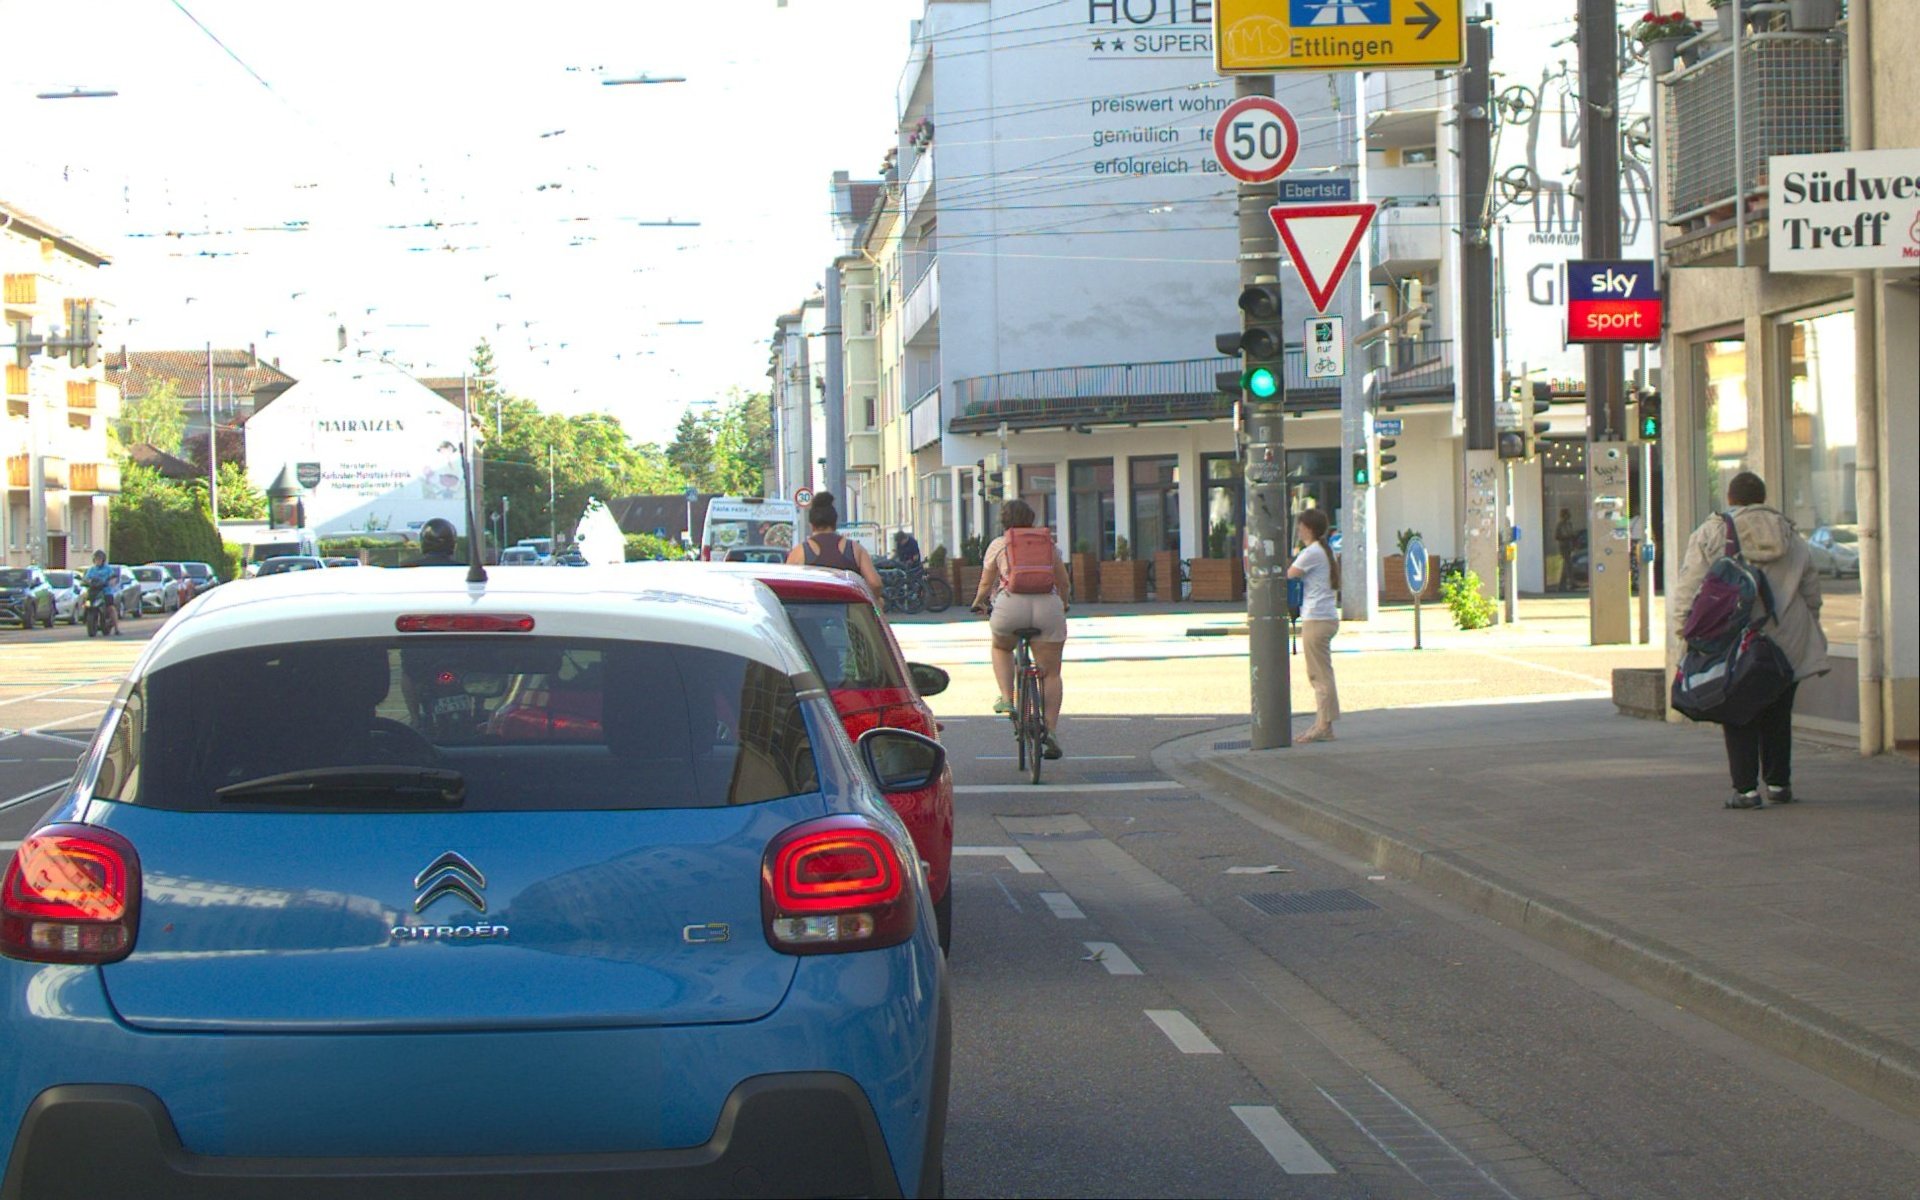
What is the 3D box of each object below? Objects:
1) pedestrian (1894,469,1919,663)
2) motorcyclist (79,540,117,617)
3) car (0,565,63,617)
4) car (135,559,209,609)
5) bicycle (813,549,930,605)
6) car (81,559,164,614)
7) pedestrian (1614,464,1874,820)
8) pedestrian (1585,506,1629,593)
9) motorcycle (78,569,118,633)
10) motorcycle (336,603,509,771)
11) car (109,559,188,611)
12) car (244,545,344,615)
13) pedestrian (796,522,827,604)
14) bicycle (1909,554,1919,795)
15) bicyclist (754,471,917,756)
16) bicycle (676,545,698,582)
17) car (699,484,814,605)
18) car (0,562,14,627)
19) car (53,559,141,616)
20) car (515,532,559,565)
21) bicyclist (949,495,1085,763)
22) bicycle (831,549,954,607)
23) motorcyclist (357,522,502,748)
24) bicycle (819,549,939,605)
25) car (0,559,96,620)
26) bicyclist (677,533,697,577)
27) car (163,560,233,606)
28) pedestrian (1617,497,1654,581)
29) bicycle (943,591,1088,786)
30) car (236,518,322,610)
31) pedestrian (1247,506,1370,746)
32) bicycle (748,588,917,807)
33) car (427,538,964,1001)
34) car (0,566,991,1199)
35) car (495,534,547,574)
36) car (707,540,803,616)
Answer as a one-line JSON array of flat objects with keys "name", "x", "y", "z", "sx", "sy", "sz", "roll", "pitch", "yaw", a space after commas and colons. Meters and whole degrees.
[{"name": "pedestrian", "x": 5.718, "y": -0.202, "z": 19.251, "sx": 0.623, "sy": 1.084, "sz": 0.679, "roll": -3, "pitch": 2, "yaw": -37}, {"name": "motorcyclist", "x": -16.827, "y": -0.415, "z": 67.125, "sx": 0.693, "sy": 1.491, "sz": 0.684, "roll": -1, "pitch": -1, "yaw": -14}, {"name": "car", "x": -23.851, "y": -0.243, "z": 86.177, "sx": 1.946, "sy": 1.235, "sz": 4.283, "roll": 1, "pitch": 1, "yaw": -5}, {"name": "car", "x": -25.822, "y": -0.530, "z": 112.711, "sx": 1.869, "sy": 1.571, "sz": 4.001, "roll": 1, "pitch": 1, "yaw": -6}, {"name": "bicycle", "x": -1.764, "y": -0.462, "z": 68.287, "sx": 2.251, "sy": 0.998, "sz": 0.856, "roll": -3, "pitch": 1, "yaw": -5}, {"name": "car", "x": -25.015, "y": -0.419, "z": 102.809, "sx": 1.869, "sy": 1.571, "sz": 4.001, "roll": 1, "pitch": 1, "yaw": -6}, {"name": "pedestrian", "x": 3.685, "y": 0.181, "z": 16.215, "sx": 0.884, "sy": 1.586, "sz": 0.811, "roll": -4, "pitch": 2, "yaw": -8}, {"name": "pedestrian", "x": 11.952, "y": -0.931, "z": 63.492, "sx": 0.610, "sy": 1.603, "sz": 0.668, "roll": 1, "pitch": 0, "yaw": 27}, {"name": "motorcycle", "x": -16.790, "y": 0.028, "z": 66.982, "sx": 0.711, "sy": 1.216, "sz": 1.966, "roll": -1, "pitch": -1, "yaw": -14}, {"name": "motorcycle", "x": -3.561, "y": 0.556, "z": 22.916, "sx": 0.855, "sy": 1.043, "sz": 1.942, "roll": 1, "pitch": 1, "yaw": -1}, {"name": "car", "x": -25.423, "y": -0.476, "z": 107.833, "sx": 1.869, "sy": 1.571, "sz": 4.001, "roll": 1, "pitch": 1, "yaw": -6}, {"name": "car", "x": -14.782, "y": -0.453, "z": 76.445, "sx": 1.778, "sy": 1.481, "sz": 3.829, "roll": -2, "pitch": 1, "yaw": -5}, {"name": "pedestrian", "x": -3.005, "y": -0.752, "z": 69.645, "sx": 0.613, "sy": 1.648, "sz": 0.671, "roll": 1, "pitch": 0, "yaw": -2}, {"name": "bicycle", "x": 4.897, "y": 0.359, "z": 15.760, "sx": 0.496, "sy": 1.157, "sz": 1.777, "roll": -1, "pitch": 0, "yaw": -3}, {"name": "bicyclist", "x": -0.749, "y": 0.075, "z": 20.840, "sx": 0.940, "sy": 1.667, "sz": 1.079, "roll": 1, "pitch": 0, "yaw": -2}, {"name": "bicycle", "x": -12.607, "y": -1.678, "z": 158.865, "sx": 0.791, "sy": 1.664, "sz": 2.230, "roll": 1, "pitch": 1, "yaw": 1}, {"name": "car", "x": -4.344, "y": -1.164, "z": 72.818, "sx": 2.265, "sy": 2.473, "sz": 5.009, "roll": 0, "pitch": 1, "yaw": -5}, {"name": "car", "x": -23.181, "y": -0.126, "z": 79.385, "sx": 1.741, "sy": 1.521, "sz": 4.230, "roll": 1, "pitch": 1, "yaw": -4}, {"name": "car", "x": -24.603, "y": -0.366, "z": 98.134, "sx": 1.869, "sy": 1.571, "sz": 4.001, "roll": 1, "pitch": 1, "yaw": -6}, {"name": "car", "x": -23.101, "y": -2.810, "z": 187.827, "sx": 2.074, "sy": 1.756, "sz": 5.037, "roll": 1, "pitch": 1, "yaw": -4}, {"name": "bicyclist", "x": 0.376, "y": 0.177, "z": 22.219, "sx": 0.811, "sy": 1.686, "sz": 0.935, "roll": 1, "pitch": 0, "yaw": 4}, {"name": "bicycle", "x": -1.303, "y": -0.426, "z": 65.806, "sx": 2.251, "sy": 0.998, "sz": 0.856, "roll": -3, "pitch": 1, "yaw": -5}, {"name": "motorcyclist", "x": -3.564, "y": 0.229, "z": 23.145, "sx": 0.855, "sy": 1.483, "sz": 0.729, "roll": 1, "pitch": 0, "yaw": -1}, {"name": "bicycle", "x": -1.593, "y": -0.454, "z": 67.173, "sx": 2.251, "sy": 0.998, "sz": 0.856, "roll": -3, "pitch": 1, "yaw": -5}, {"name": "car", "x": -24.391, "y": -0.303, "z": 92.074, "sx": 1.869, "sy": 1.571, "sz": 4.001, "roll": 1, "pitch": 1, "yaw": -6}, {"name": "bicyclist", "x": -12.602, "y": -2.066, "z": 158.864, "sx": 0.791, "sy": 2.018, "sz": 0.986, "roll": 1, "pitch": 0, "yaw": 1}, {"name": "car", "x": -26.340, "y": -0.600, "z": 118.937, "sx": 1.869, "sy": 1.571, "sz": 4.001, "roll": 1, "pitch": 1, "yaw": -6}, {"name": "pedestrian", "x": 12.981, "y": -1.169, "z": 66.054, "sx": 0.610, "sy": 1.603, "sz": 0.668, "roll": 1, "pitch": 0, "yaw": 17}, {"name": "bicycle", "x": 0.380, "y": 0.546, "z": 22.271, "sx": 0.811, "sy": 1.177, "sz": 2.064, "roll": 1, "pitch": 1, "yaw": 4}, {"name": "car", "x": -23.556, "y": -1.242, "z": 119.092, "sx": 2.417, "sy": 3.131, "sz": 3.489, "roll": 1, "pitch": 0, "yaw": -3}, {"name": "pedestrian", "x": 2.450, "y": 0.179, "z": 24.123, "sx": 0.540, "sy": 1.618, "sz": 0.732, "roll": -5, "pitch": -1, "yaw": 21}, {"name": "bicycle", "x": -0.753, "y": 0.550, "z": 20.559, "sx": 0.940, "sy": 1.219, "sz": 2.095, "roll": 1, "pitch": 1, "yaw": -2}, {"name": "car", "x": -1.058, "y": 0.544, "z": 13.462, "sx": 1.784, "sy": 1.516, "sz": 3.763, "roll": 1, "pitch": 1, "yaw": -5}, {"name": "car", "x": -1.001, "y": 0.661, "z": 7.226, "sx": 1.736, "sy": 1.447, "sz": 3.663, "roll": 0, "pitch": 1, "yaw": -6}, {"name": "car", "x": -21.780, "y": -2.255, "z": 170.750, "sx": 2.218, "sy": 1.925, "sz": 4.950, "roll": 1, "pitch": 1, "yaw": -4}, {"name": "car", "x": -4.064, "y": -0.441, "z": 67.831, "sx": 1.657, "sy": 1.426, "sz": 3.889, "roll": 1, "pitch": 1, "yaw": -7}]
